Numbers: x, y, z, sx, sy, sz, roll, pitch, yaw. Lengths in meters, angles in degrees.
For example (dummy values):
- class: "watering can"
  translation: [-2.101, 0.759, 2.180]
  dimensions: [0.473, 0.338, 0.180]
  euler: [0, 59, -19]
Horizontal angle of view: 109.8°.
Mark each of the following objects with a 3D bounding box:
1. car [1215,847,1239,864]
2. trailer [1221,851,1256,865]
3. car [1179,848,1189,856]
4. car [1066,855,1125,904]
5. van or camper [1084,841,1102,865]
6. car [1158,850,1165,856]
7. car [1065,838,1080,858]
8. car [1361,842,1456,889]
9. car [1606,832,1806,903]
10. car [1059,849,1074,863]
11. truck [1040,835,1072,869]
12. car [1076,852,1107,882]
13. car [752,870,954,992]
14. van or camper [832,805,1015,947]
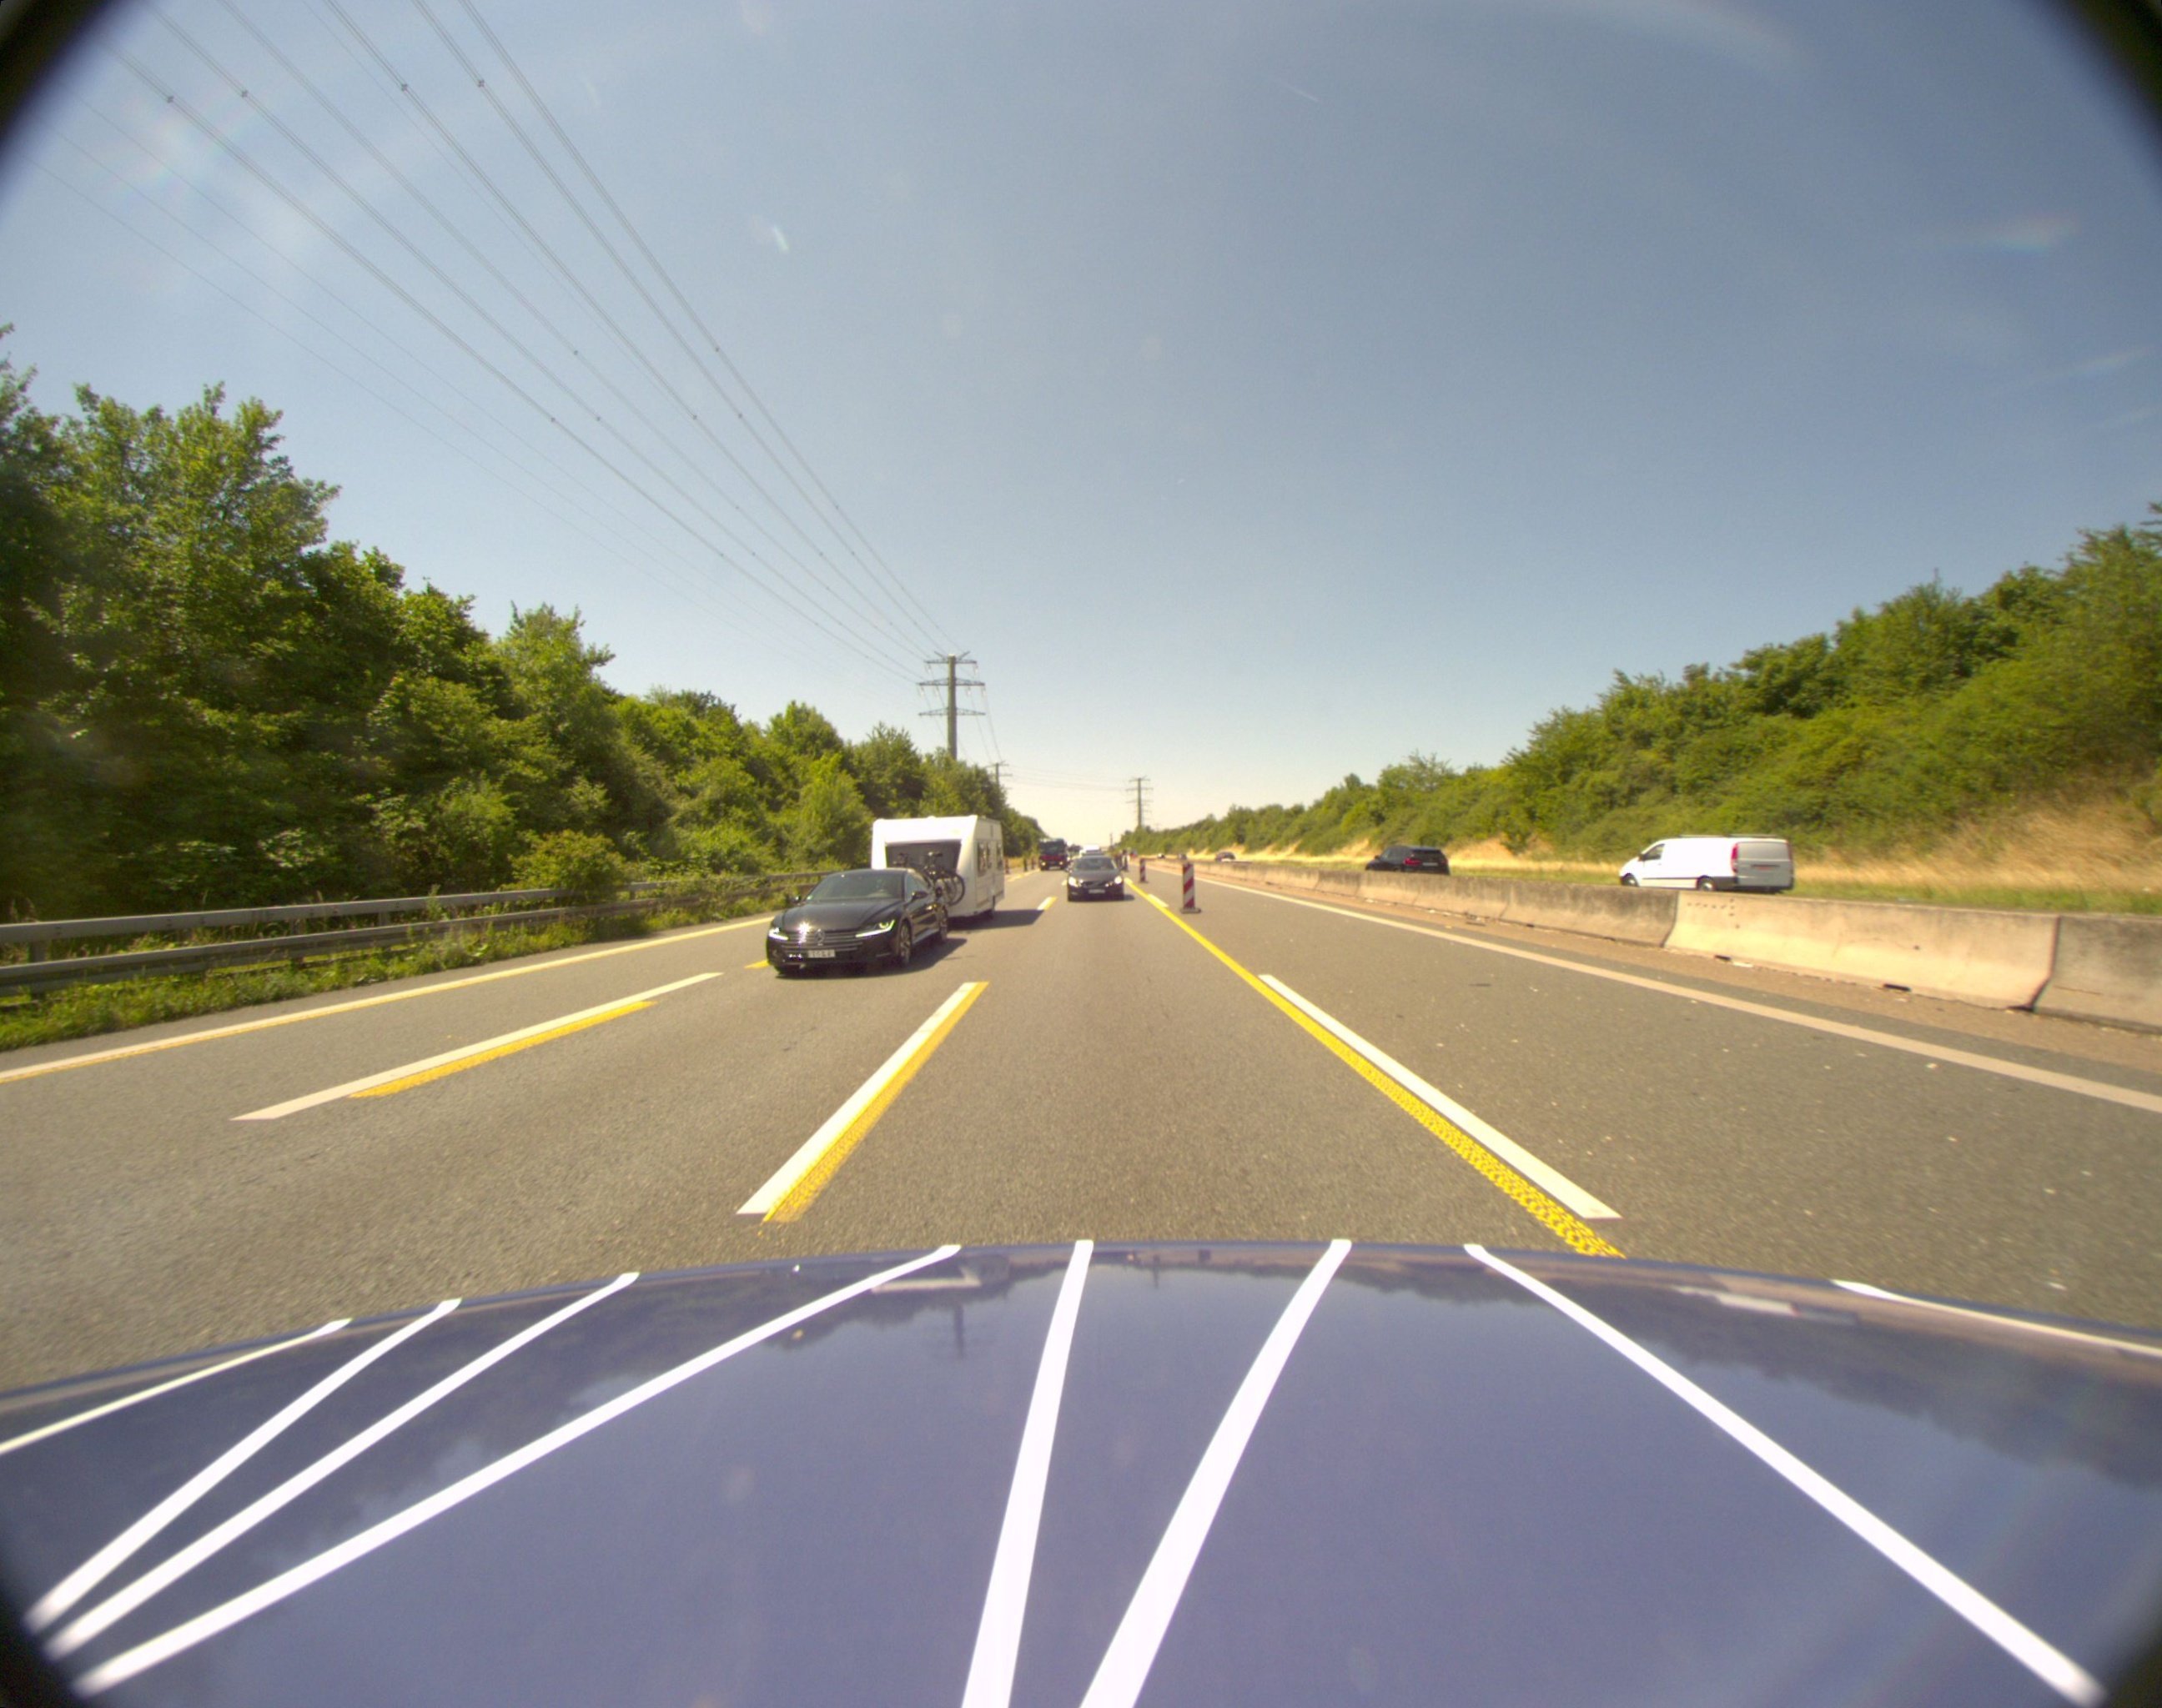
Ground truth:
- class: "car"
  translation: [16.718, 0.168, 87.301]
  dimensions: [1.918, 1.743, 4.565]
  euler: [-3, 0, 1]
- class: "trailer"
  translation: [16.790, 0.409, 81.355]
  dimensions: [2.362, 1.336, 7.216]
  euler: [-1, 0, 1]
- class: "car"
  translation: [20.539, -0.336, 151.920]
  dimensions: [1.503, 1.539, 4.000]
  euler: [-1, 0, 0]
- class: "car"
  translation: [0.515, 0.804, 25.491]
  dimensions: [1.798, 1.433, 4.000]
  euler: [-2, 0, 2]
- class: "van or camper"
  translation: [1.401, -0.159, 86.657]
  dimensions: [1.998, 2.604, 5.629]
  euler: [0, 0, 2]
- class: "car"
  translation: [19.646, -0.196, 185.609]
  dimensions: [1.578, 1.456, 3.778]
  euler: [-1, 0, 1]
- class: "car"
  translation: [-1.708, -1.251, 152.726]
  dimensions: [2.397, 3.779, 10.273]
  euler: [-3, 0, 2]
- class: "car"
  translation: [12.694, 0.386, 29.798]
  dimensions: [1.877, 1.684, 4.498]
  euler: [-1, 0, 1]
- class: "car"
  translation: [19.844, 0.387, 24.565]
  dimensions: [1.935, 2.002, 5.596]
  euler: [-1, 0, 1]
- class: "car"
  translation: [-1.929, 0.205, 103.408]
  dimensions: [1.850, 1.810, 3.926]
  euler: [-3, 1, 1]
- class: "truck"
  translation: [-2.417, -0.192, 76.124]
  dimensions: [2.431, 3.122, 7.648]
  euler: [-4, 0, 3]
- class: "car"
  translation: [0.679, 0.726, 46.168]
  dimensions: [1.675, 1.619, 4.691]
  euler: [-4, 0, 3]
- class: "car"
  translation: [-3.323, 1.048, 11.985]
  dimensions: [1.800, 1.399, 4.210]
  euler: [-2, 0, 1]
- class: "van or camper"
  translation: [-3.286, 0.383, 18.320]
  dimensions: [2.432, 2.549, 8.417]
  euler: [-2, 0, 1]
